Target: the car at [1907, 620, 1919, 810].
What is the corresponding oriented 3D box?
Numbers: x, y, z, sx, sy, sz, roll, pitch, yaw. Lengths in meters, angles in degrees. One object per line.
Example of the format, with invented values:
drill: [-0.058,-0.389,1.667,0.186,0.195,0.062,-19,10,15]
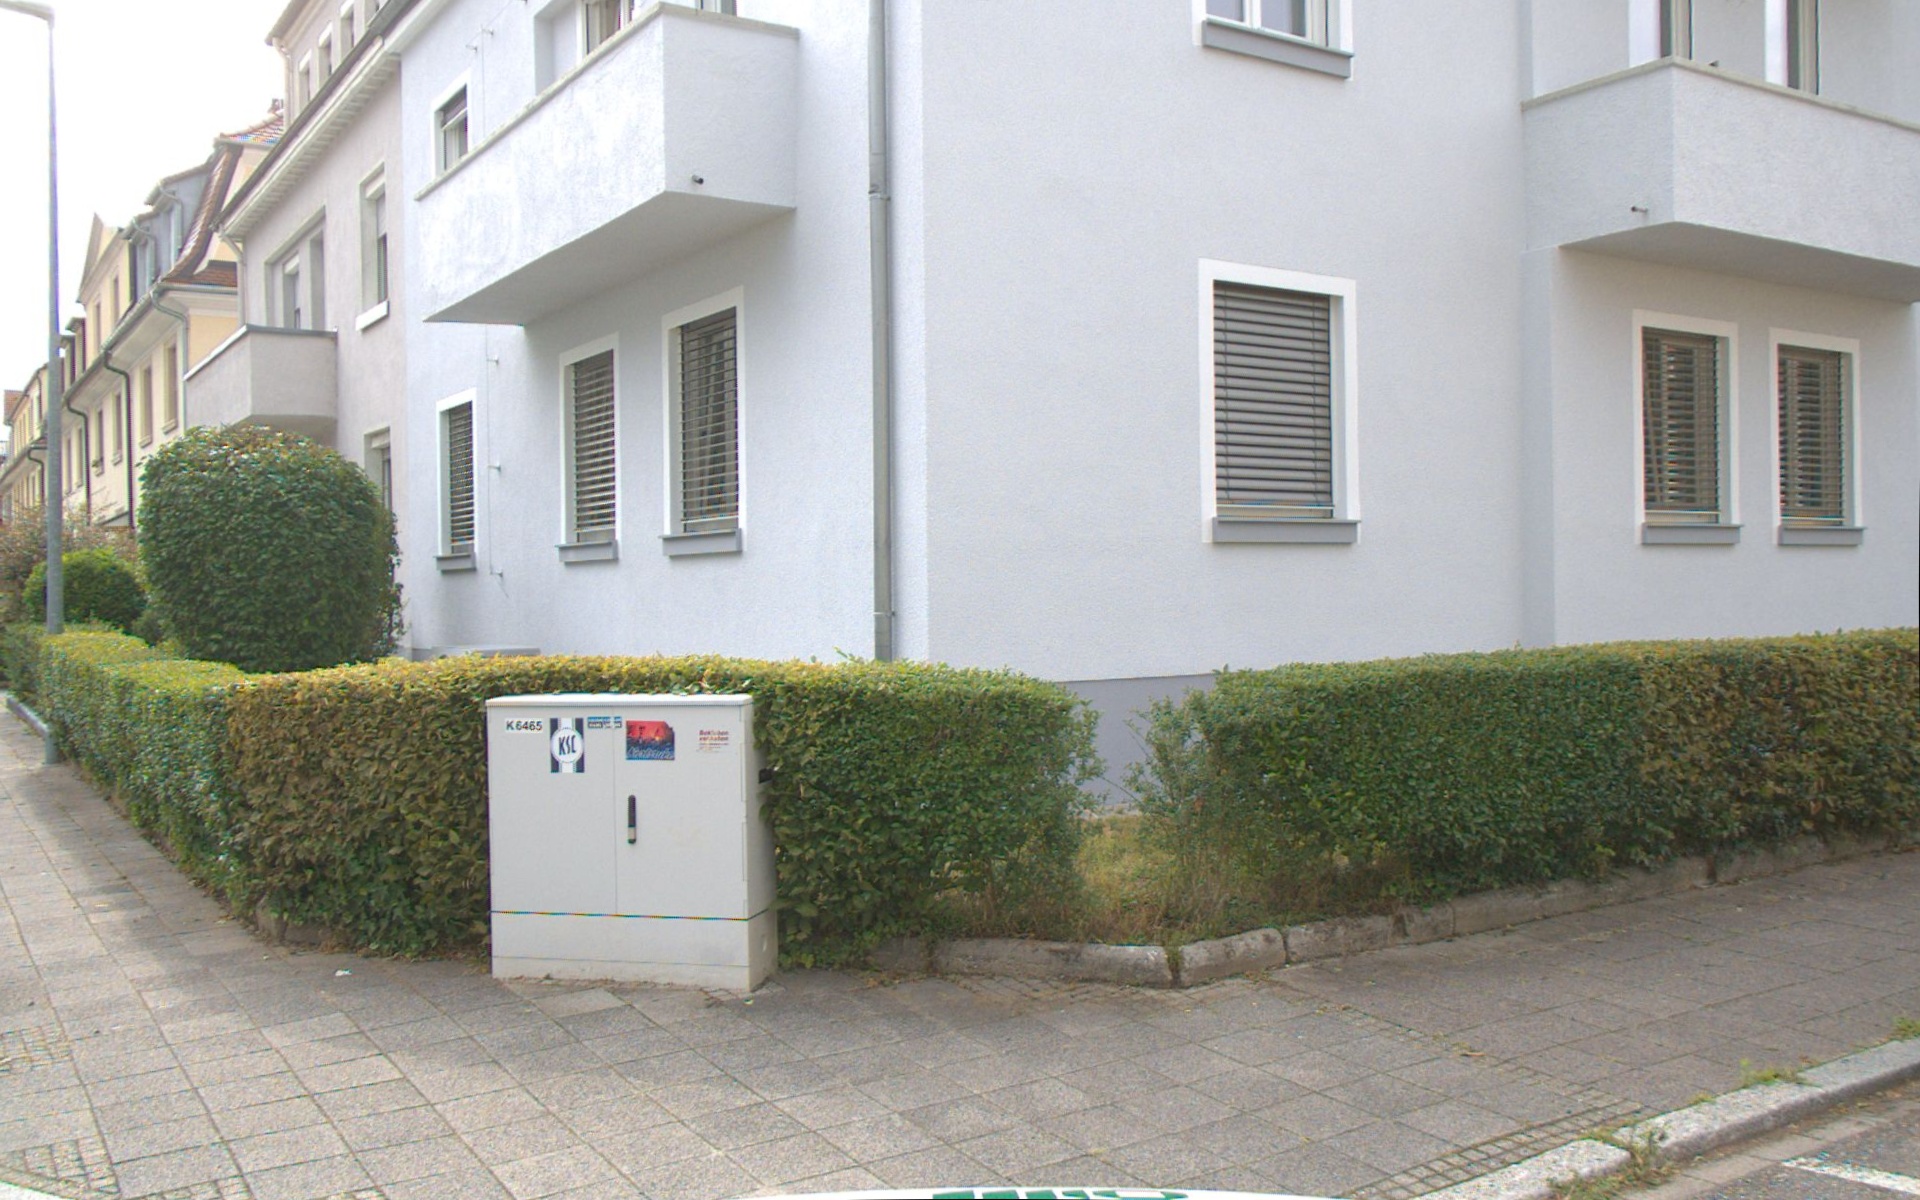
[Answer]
car: [5.012,0.717,5.733,3.440,1.447,1.631,-1,-3,-35]
